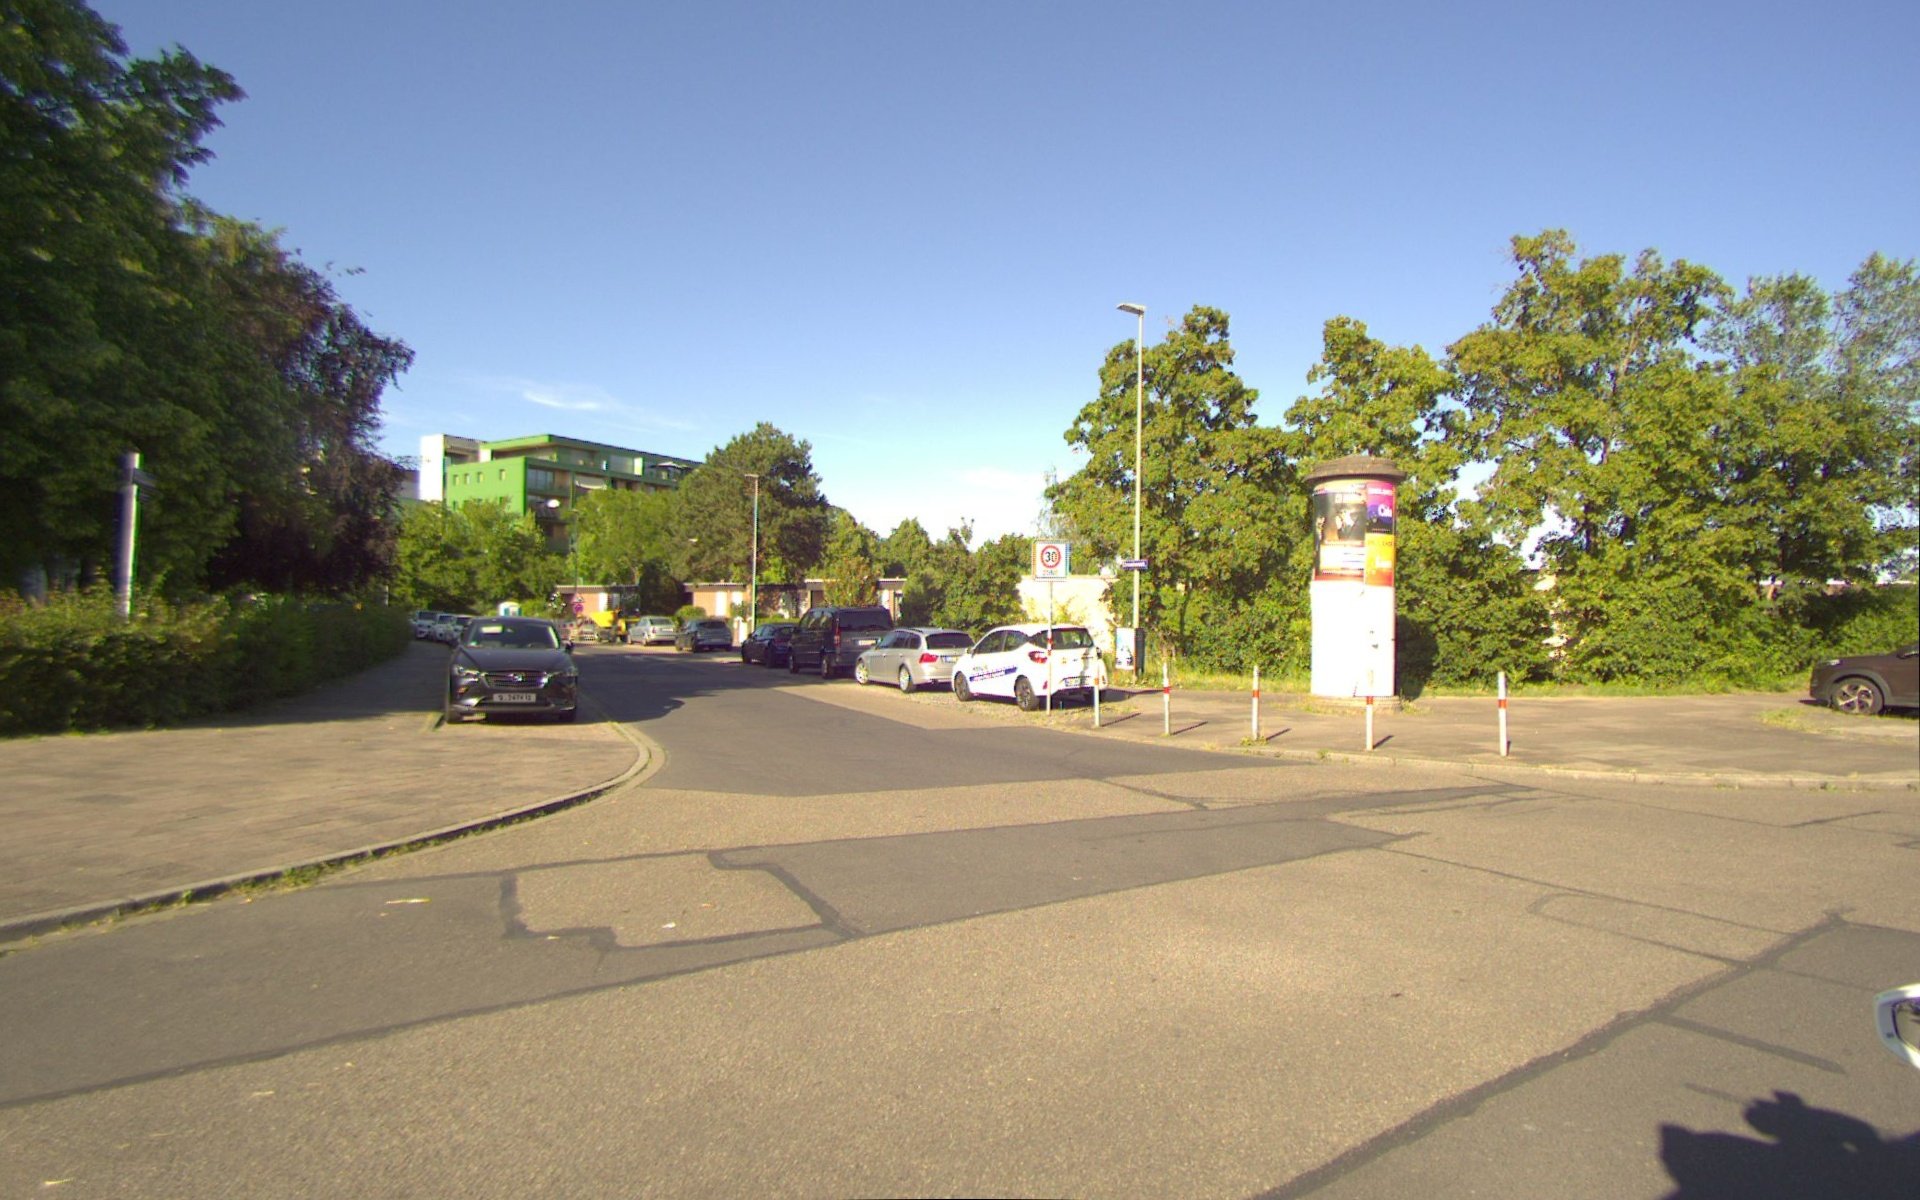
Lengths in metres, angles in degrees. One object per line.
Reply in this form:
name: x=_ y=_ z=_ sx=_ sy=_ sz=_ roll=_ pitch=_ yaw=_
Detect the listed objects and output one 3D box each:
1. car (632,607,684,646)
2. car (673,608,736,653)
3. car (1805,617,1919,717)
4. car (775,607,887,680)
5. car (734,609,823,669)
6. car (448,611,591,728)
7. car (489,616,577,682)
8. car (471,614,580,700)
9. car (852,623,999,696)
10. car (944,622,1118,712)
car: x=-15.557 y=1.357 z=51.598 sx=1.716 sy=1.879 sz=4.314 roll=-1 pitch=-1 yaw=-28
car: x=-11.417 y=1.358 z=44.732 sx=1.716 sy=1.879 sz=4.314 roll=-1 pitch=-1 yaw=-28
car: x=17.696 y=1.238 z=17.477 sx=1.823 sy=1.678 sz=4.170 roll=2 pitch=1 yaw=-28
car: x=-3.733 y=1.196 z=28.395 sx=1.716 sy=1.879 sz=4.314 roll=-1 pitch=-1 yaw=-28
car: x=-6.231 y=1.296 z=34.128 sx=1.716 sy=1.879 sz=4.314 roll=-1 pitch=-1 yaw=-28
car: x=-6.893 y=1.008 z=15.500 sx=1.725 sy=1.563 sz=3.900 roll=2 pitch=-3 yaw=-28
car: x=-11.039 y=1.235 z=25.822 sx=1.725 sy=1.563 sz=4.071 roll=2 pitch=-3 yaw=-28
car: x=-8.910 y=1.125 z=20.425 sx=1.725 sy=1.563 sz=3.900 roll=2 pitch=-3 yaw=-28
car: x=-0.911 y=1.316 z=23.376 sx=1.716 sy=1.481 sz=4.314 roll=-1 pitch=-1 yaw=-28
car: x=1.256 y=1.210 z=19.210 sx=1.716 sy=1.481 sz=3.505 roll=-1 pitch=-1 yaw=-28
